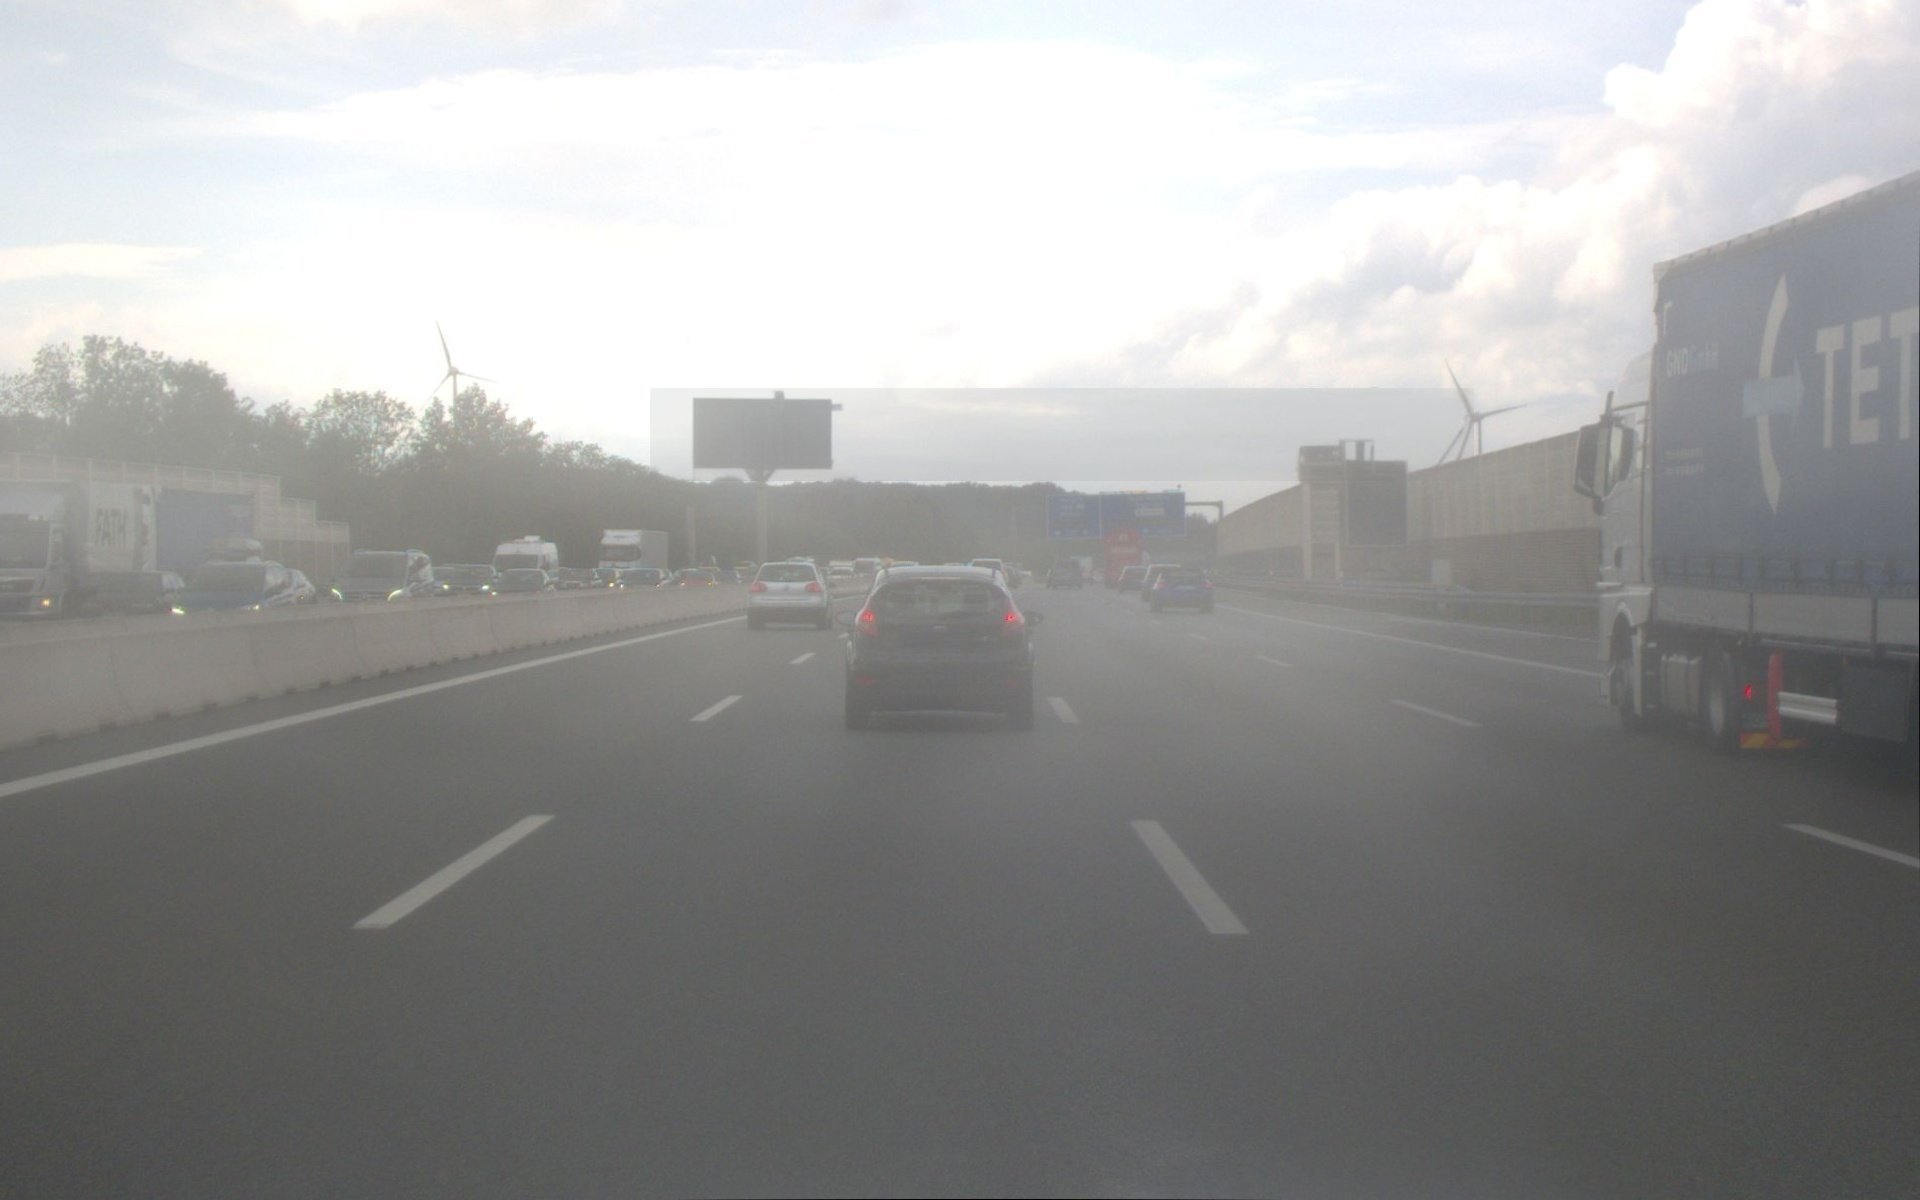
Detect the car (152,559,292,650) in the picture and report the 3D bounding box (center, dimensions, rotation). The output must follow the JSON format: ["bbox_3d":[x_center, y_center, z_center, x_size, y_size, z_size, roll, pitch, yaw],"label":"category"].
[{"bbox_3d":[-14.365,0.065,67.126,1.873,1.694,4.222,0,1,-1],"label":"car"}]

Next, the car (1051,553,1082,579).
[{"bbox_3d":[6.782,-2.160,218.587,1.968,1.555,4.432,0,0,2],"label":"car"}]

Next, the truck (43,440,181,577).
[{"bbox_3d":[-25.678,-2.734,104.350,2.745,4.021,5.726,0,1,0],"label":"truck"}]

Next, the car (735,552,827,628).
[{"bbox_3d":[-3.916,-0.241,75.762,1.717,1.618,4.278,0,1,1],"label":"car"}]

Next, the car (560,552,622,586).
[{"bbox_3d":[-16.707,-1.404,155.845,2.060,1.486,4.997,0,0,2],"label":"car"}]

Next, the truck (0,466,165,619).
[{"bbox_3d":[-22.166,-1.402,84.410,2.696,3.515,9.995,1,1,1],"label":"truck"}]

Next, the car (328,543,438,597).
[{"bbox_3d":[-14.258,-0.767,85.232,1.873,1.295,5.601,0,1,-1],"label":"car"}]

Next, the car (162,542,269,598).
[{"bbox_3d":[-21.839,-0.869,100.993,2.060,1.594,4.997,0,0,0],"label":"car"}]

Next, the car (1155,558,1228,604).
[{"bbox_3d":[7.194,-0.571,107.145,1.949,1.413,4.232,0,0,-1],"label":"car"}]

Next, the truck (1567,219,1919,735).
[{"bbox_3d":[7.197,-0.985,29.759,2.744,4.021,5.726,0,1,-1],"label":"truck"}]

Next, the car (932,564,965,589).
[{"bbox_3d":[-0.736,-1.540,227.282,1.968,1.555,4.432,0,0,2],"label":"car"}]

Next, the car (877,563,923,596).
[{"bbox_3d":[-2.881,-0.994,166.751,1.968,1.555,4.432,0,0,2],"label":"car"}]

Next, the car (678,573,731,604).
[{"bbox_3d":[-12.545,-0.577,169.157,2.060,1.486,4.997,0,0,2],"label":"car"}]

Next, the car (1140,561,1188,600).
[{"bbox_3d":[8.422,-0.795,142.215,1.883,1.537,4.432,0,0,2],"label":"car"}]

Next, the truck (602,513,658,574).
[{"bbox_3d":[-21.874,-3.719,228.377,2.972,4.021,5.726,0,0,2],"label":"truck"}]

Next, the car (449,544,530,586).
[{"bbox_3d":[-16.986,-1.250,124.322,2.060,1.486,4.997,0,0,2],"label":"car"}]

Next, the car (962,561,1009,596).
[{"bbox_3d":[1.171,-0.964,156.498,1.968,1.555,4.432,0,0,2],"label":"car"}]

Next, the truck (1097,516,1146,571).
[{"bbox_3d":[11.113,-3.867,237.819,3.152,3.589,12.698,1,1,2],"label":"truck"}]

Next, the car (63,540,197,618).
[{"bbox_3d":[-18.734,-0.508,77.773,1.873,1.694,5.016,0,1,-1],"label":"car"}]

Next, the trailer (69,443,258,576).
[{"bbox_3d":[-25.654,-2.835,111.563,2.761,4.018,14.453,0,1,0],"label":"trailer"}]

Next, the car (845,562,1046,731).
[{"bbox_3d":[-0.156,0.374,31.533,1.717,1.412,4.279,0,1,-1],"label":"car"}]

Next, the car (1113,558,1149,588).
[{"bbox_3d":[9.332,-1.476,187.666,1.882,1.555,4.432,0,0,2],"label":"car"}]

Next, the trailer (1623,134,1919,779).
[{"bbox_3d":[7.330,-0.906,22.845,2.761,4.018,14.454,0,1,-1],"label":"trailer"}]
